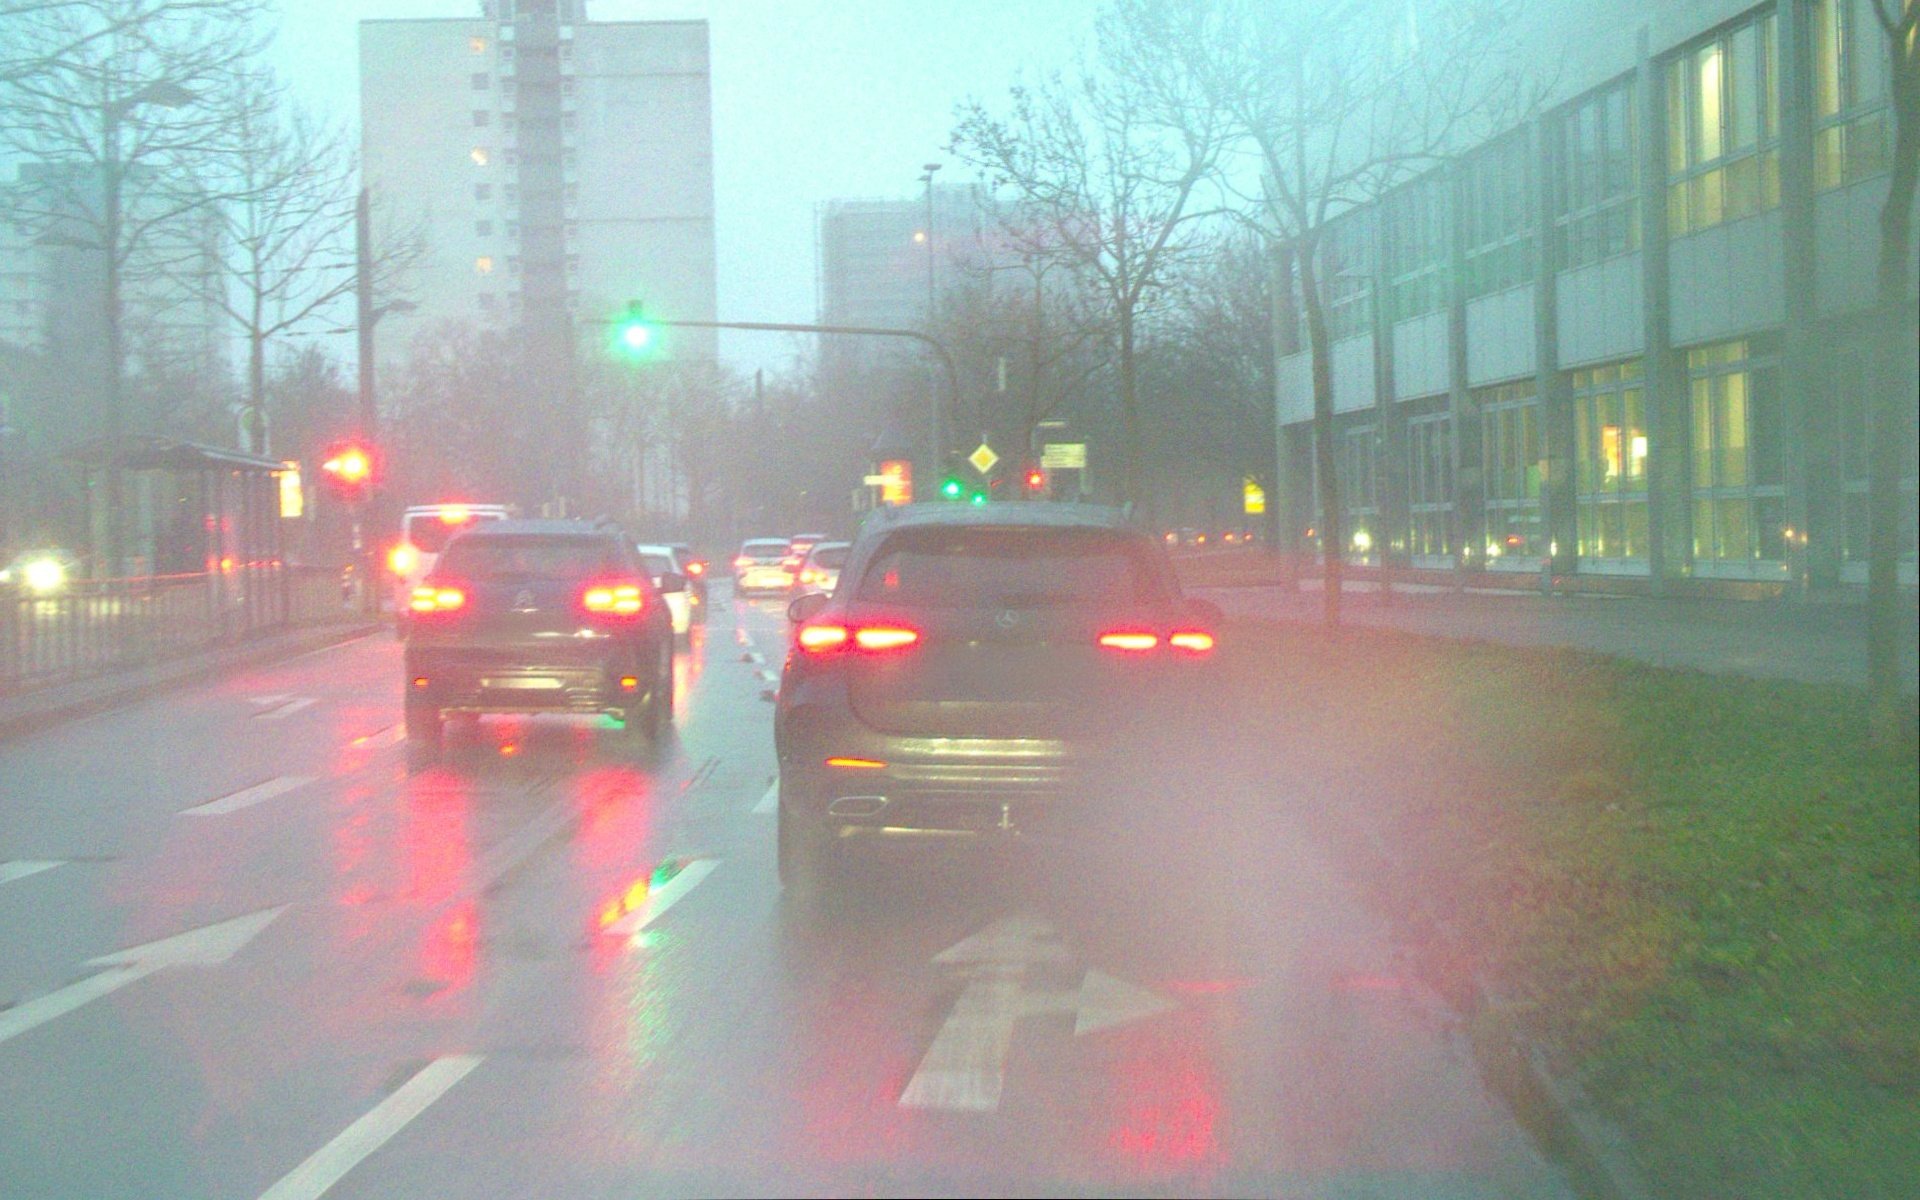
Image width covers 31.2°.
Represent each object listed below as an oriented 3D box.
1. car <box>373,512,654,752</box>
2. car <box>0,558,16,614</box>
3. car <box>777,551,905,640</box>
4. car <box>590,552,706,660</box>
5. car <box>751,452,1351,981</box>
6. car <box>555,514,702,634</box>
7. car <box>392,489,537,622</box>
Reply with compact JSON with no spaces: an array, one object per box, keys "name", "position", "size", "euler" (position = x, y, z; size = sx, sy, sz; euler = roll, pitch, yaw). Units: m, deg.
[{"name":"car","position":[-3.419,0.228,26.701],"size":[1.993,1.706,4.325],"euler":[0,0,-6]},{"name":"car","position":[-26.350,-0.371,91.059],"size":[1.759,1.492,3.759],"euler":[0,0,-1]},{"name":"car","position":[-1.967,-0.096,55.655],"size":[1.886,1.349,4.102],"euler":[0,1,-5]},{"name":"car","position":[-5.940,0.106,65.892],"size":[1.993,2.007,4.000],"euler":[0,0,-2]},{"name":"car","position":[0.230,0.433,14.945],"size":[1.993,1.969,4.069],"euler":[0,0,-7]},{"name":"car","position":[-4.676,-0.350,48.899],"size":[1.993,1.636,4.023],"euler":[0,0,-4]},{"name":"car","position":[-7.936,-0.722,55.454],"size":[1.952,2.026,4.884],"euler":[-1,1,-4]}]
